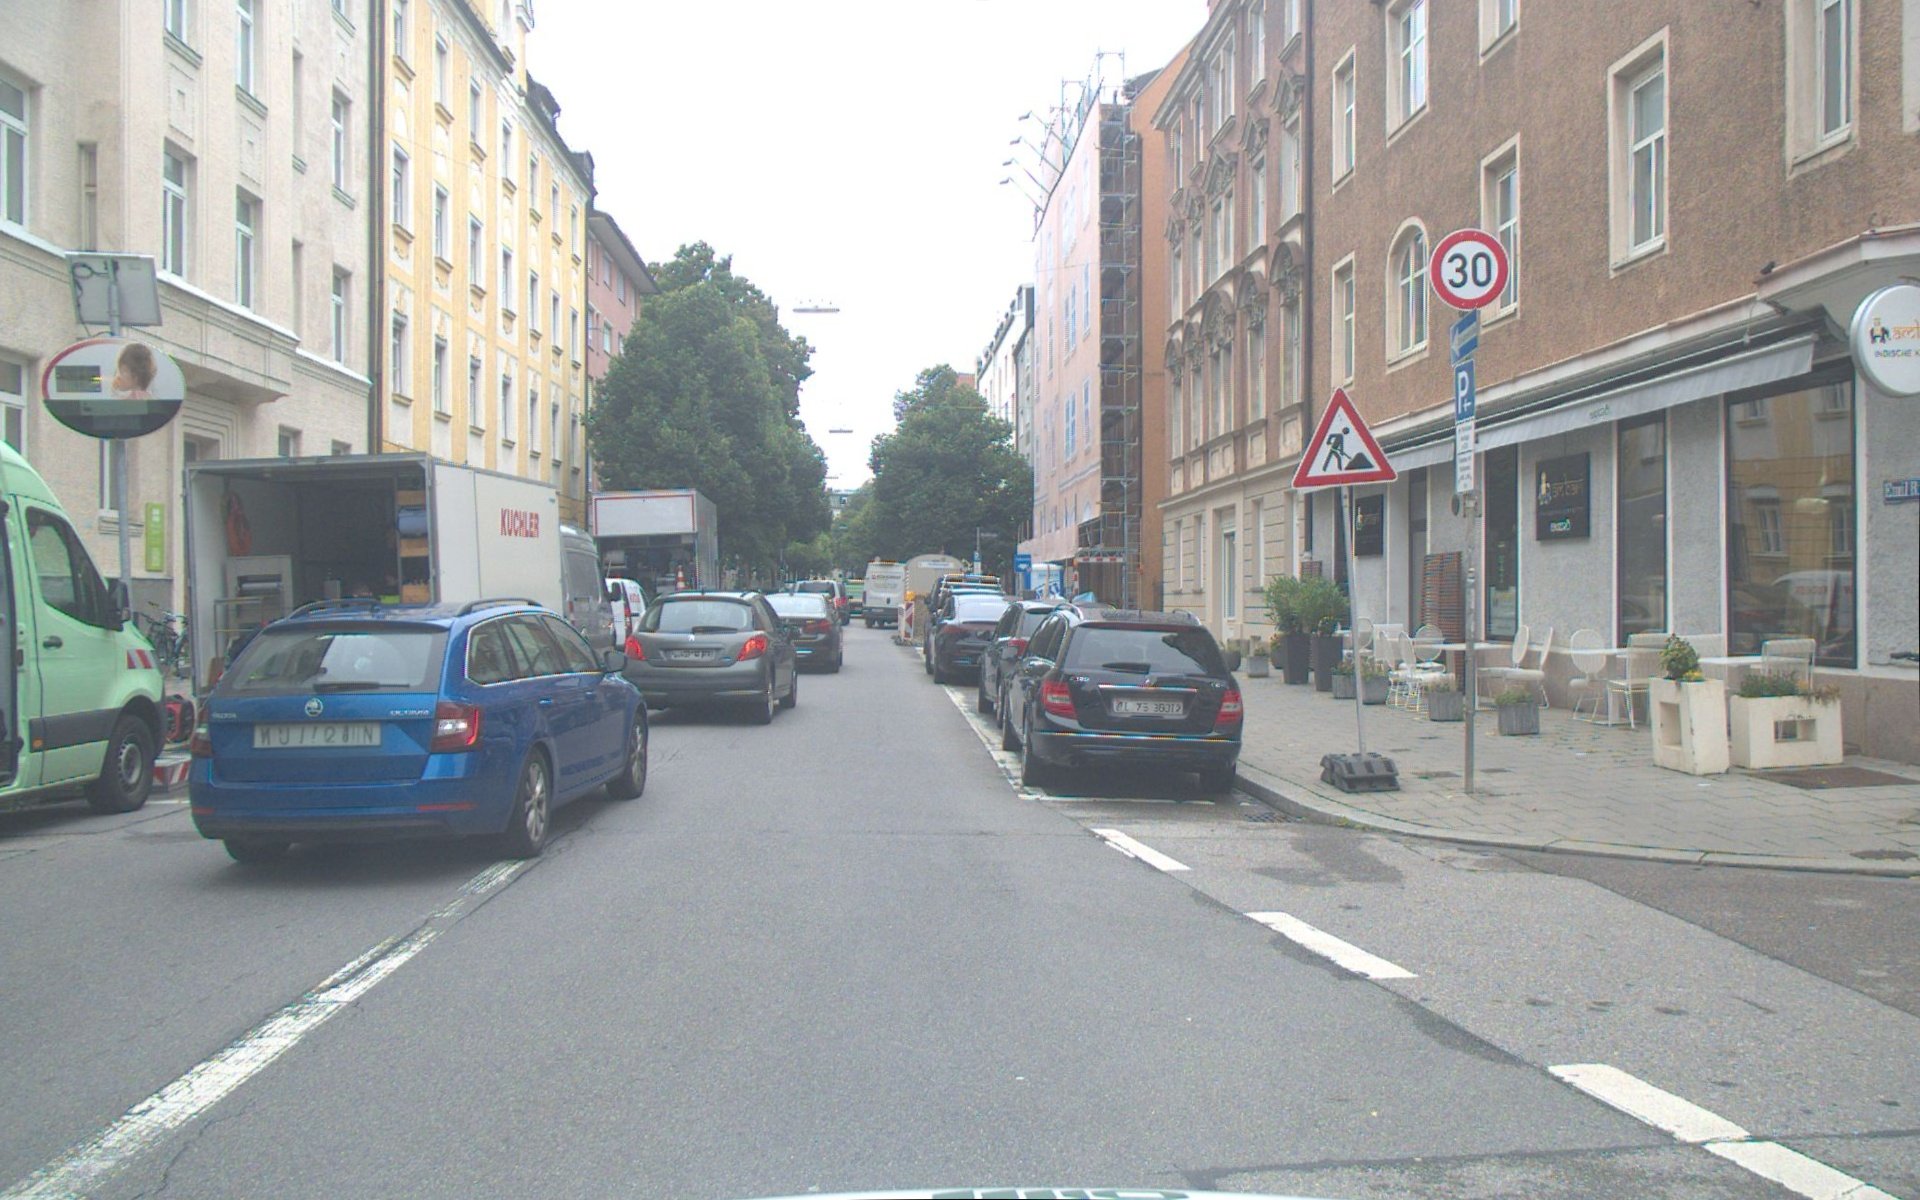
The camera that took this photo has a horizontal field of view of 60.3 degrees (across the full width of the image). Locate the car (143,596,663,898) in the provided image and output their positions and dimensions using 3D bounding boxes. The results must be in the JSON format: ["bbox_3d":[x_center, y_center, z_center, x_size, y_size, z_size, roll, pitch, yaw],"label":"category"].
[{"bbox_3d":[-3.148,0.722,10.356,1.752,1.486,4.315,0,0,0],"label":"car"}]

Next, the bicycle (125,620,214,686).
[{"bbox_3d":[-12.002,0.789,25.155,0.407,0.930,1.757,3,0,2],"label":"bicycle"}]

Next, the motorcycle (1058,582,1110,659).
[{"bbox_3d":[2.512,0.404,33.646,0.854,1.531,1.996,0,0,-1],"label":"motorcycle"}]

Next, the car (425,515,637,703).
[{"bbox_3d":[-7.021,0.111,27.920,2.016,2.632,6.871,-4,1,-4],"label":"car"}]

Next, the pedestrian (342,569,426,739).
[{"bbox_3d":[-5.806,0.530,16.665,0.751,1.659,0.633,-1,0,-23],"label":"pedestrian"}]

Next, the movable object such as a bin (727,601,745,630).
[{"bbox_3d":[-9.154,0.638,67.671,0.698,1.168,0.635,-2,1,-7],"label":"movable object such as a bin"}]

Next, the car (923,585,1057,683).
[{"bbox_3d":[0.436,0.540,29.708,1.893,1.580,5.632,1,0,-4],"label":"car"}]

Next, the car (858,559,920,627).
[{"bbox_3d":[-2.968,-0.272,70.209,2.068,2.710,5.501,1,0,2],"label":"car"}]

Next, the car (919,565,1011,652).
[{"bbox_3d":[0.055,0.273,41.105,2.041,1.955,5.137,1,-2,-2],"label":"car"}]

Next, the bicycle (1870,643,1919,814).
[{"bbox_3d":[6.180,0.815,9.867,0.485,1.023,1.803,-2,1,0],"label":"bicycle"}]

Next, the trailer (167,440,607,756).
[{"bbox_3d":[-6.572,-0.088,20.438,2.747,3.020,7.598,-3,1,-1],"label":"trailer"}]

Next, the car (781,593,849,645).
[{"bbox_3d":[-4.260,0.529,49.034,1.830,1.371,4.345,1,1,-3],"label":"car"}]

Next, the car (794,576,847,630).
[{"bbox_3d":[-5.223,0.085,62.206,1.830,1.902,4.345,1,1,-3],"label":"car"}]

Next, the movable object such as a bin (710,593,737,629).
[{"bbox_3d":[-9.775,0.449,68.462,1.061,1.400,1.082,-2,1,-8],"label":"movable object such as a bin"}]

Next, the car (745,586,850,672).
[{"bbox_3d":[-3.057,0.495,31.709,1.831,1.479,4.344,1,1,-4],"label":"car"}]

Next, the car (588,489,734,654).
[{"bbox_3d":[-7.704,-0.687,43.667,2.757,3.884,8.717,0,0,-4],"label":"car"}]

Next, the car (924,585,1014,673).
[{"bbox_3d":[0.143,0.593,35.513,1.660,1.706,4.405,3,0,-2],"label":"car"}]

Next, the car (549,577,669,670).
[{"bbox_3d":[-7.419,0.459,35.327,1.727,1.810,4.324,-2,0,-2],"label":"car"}]

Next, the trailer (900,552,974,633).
[{"bbox_3d":[-0.954,-0.267,63.240,2.452,2.889,6.896,1,0,-3],"label":"trailer"}]

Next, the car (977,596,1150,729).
[{"bbox_3d":[1.143,0.682,19.957,1.541,1.419,4.179,0,0,-4],"label":"car"}]

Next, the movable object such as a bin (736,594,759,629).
[{"bbox_3d":[-8.805,0.481,68.612,0.900,1.400,1.078,-2,1,-7],"label":"movable object such as a bin"}]

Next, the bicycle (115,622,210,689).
[{"bbox_3d":[-11.693,0.793,24.307,0.386,0.930,1.589,3,0,8],"label":"bicycle"}]

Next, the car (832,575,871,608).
[{"bbox_3d":[-5.841,-0.460,88.769,1.969,1.682,4.343,1,1,-5],"label":"car"}]

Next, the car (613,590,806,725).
[{"bbox_3d":[-2.863,0.618,19.610,1.705,1.446,3.664,0,0,0],"label":"car"}]

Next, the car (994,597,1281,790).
[{"bbox_3d":[1.378,0.696,14.748,1.810,1.429,4.785,0,0,-3],"label":"car"}]

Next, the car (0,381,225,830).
[{"bbox_3d":[-6.645,0.033,9.483,2.098,2.617,6.791,0,0,-3],"label":"car"}]

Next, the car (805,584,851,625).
[{"bbox_3d":[-5.752,0.189,72.450,1.830,1.682,4.345,1,1,-3],"label":"car"}]
